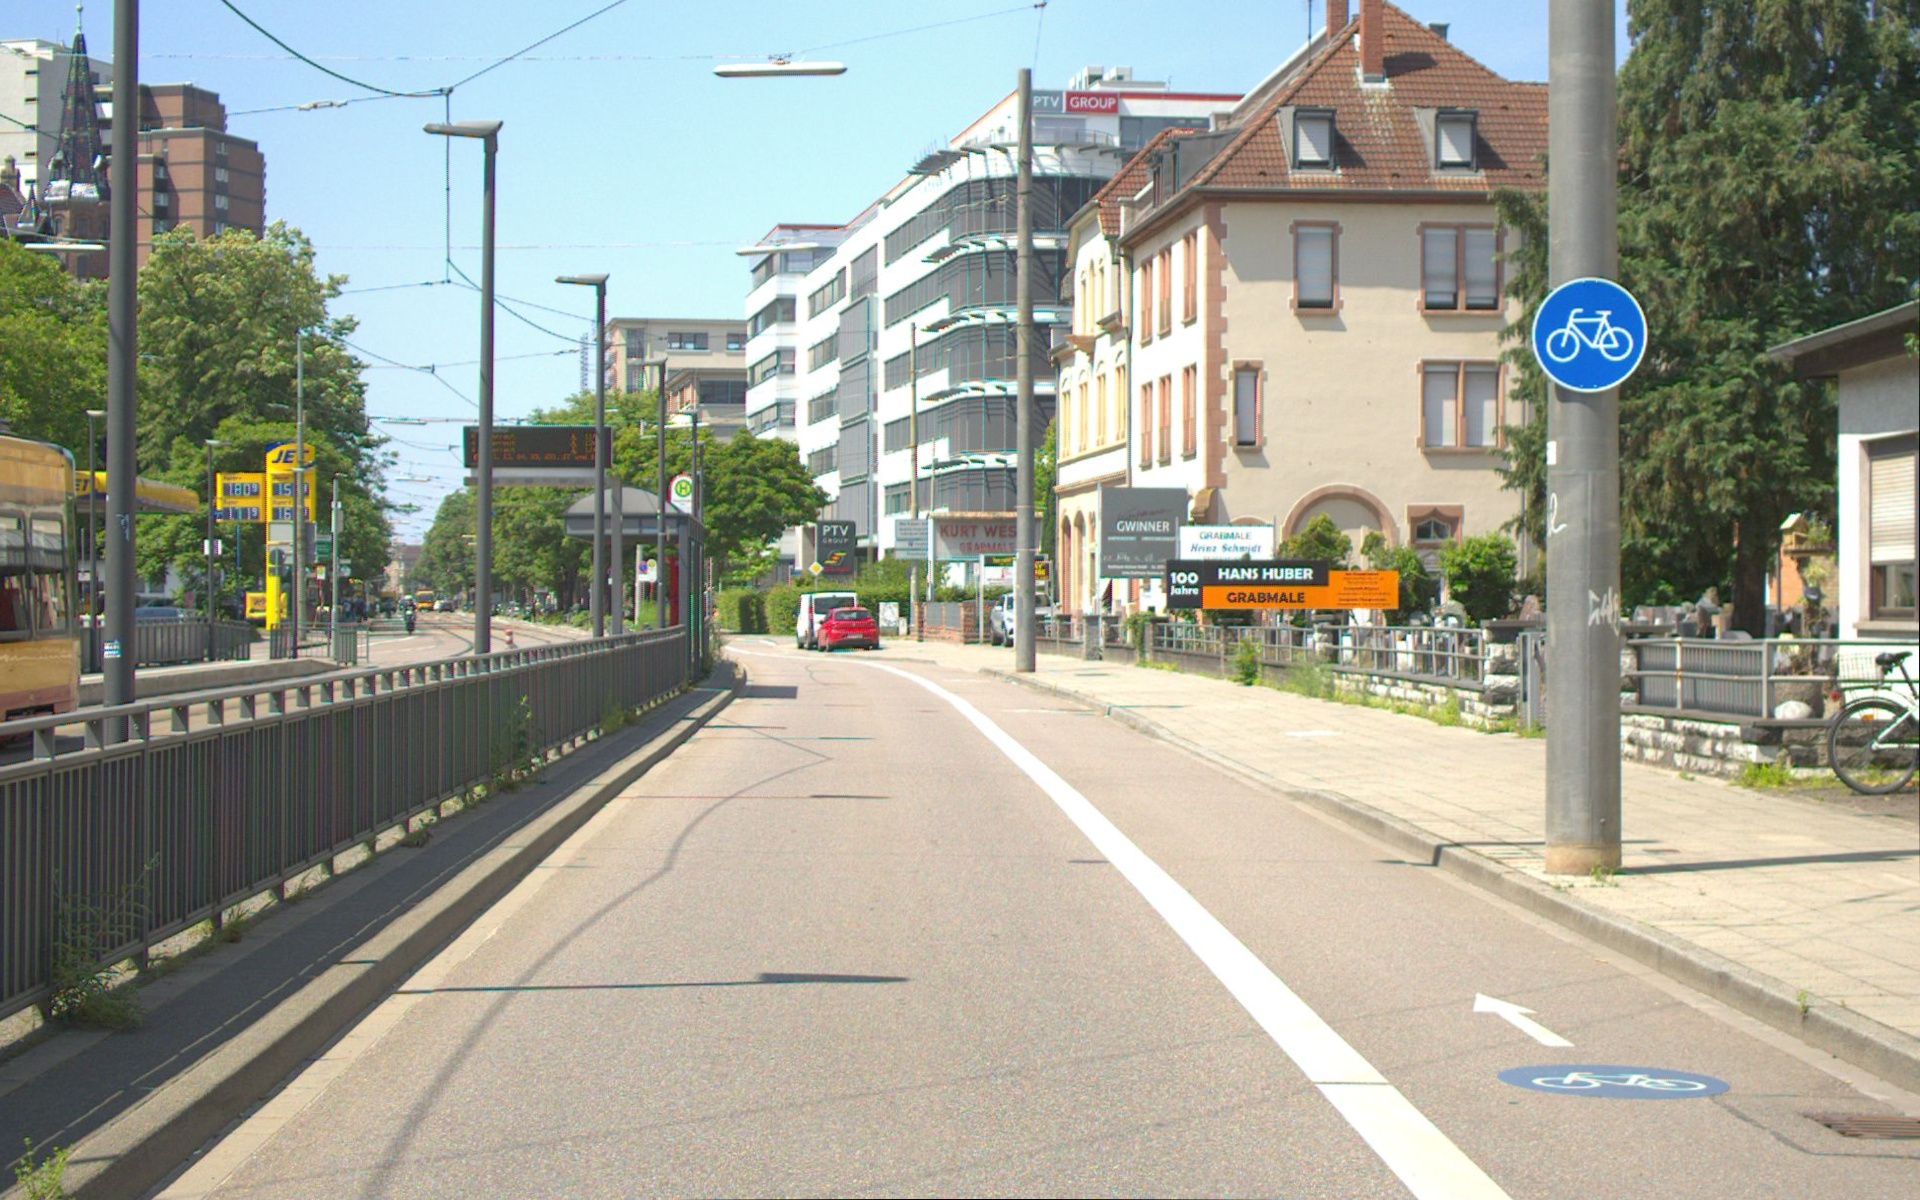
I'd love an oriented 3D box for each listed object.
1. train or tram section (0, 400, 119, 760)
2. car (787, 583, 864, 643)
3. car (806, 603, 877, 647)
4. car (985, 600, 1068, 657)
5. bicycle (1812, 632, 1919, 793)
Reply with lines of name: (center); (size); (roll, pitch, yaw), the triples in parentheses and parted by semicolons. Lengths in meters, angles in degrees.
train or tram section: (-11.004, -0.219, 31.111); (3.235, 3.555, 16.350); (0, -1, -2)
car: (-4.742, 0.446, 120.679); (1.993, 1.985, 5.515); (-2, 0, -9)
car: (-3.957, 0.814, 114.192); (1.993, 1.437, 4.017); (0, 0, -7)
car: (2.007, 0.869, 104.792); (1.877, 1.619, 4.640); (-3, 0, -6)
bicycle: (6.722, 0.762, 23.771); (1.533, 1.082, 0.429); (-2, 0, 5)
